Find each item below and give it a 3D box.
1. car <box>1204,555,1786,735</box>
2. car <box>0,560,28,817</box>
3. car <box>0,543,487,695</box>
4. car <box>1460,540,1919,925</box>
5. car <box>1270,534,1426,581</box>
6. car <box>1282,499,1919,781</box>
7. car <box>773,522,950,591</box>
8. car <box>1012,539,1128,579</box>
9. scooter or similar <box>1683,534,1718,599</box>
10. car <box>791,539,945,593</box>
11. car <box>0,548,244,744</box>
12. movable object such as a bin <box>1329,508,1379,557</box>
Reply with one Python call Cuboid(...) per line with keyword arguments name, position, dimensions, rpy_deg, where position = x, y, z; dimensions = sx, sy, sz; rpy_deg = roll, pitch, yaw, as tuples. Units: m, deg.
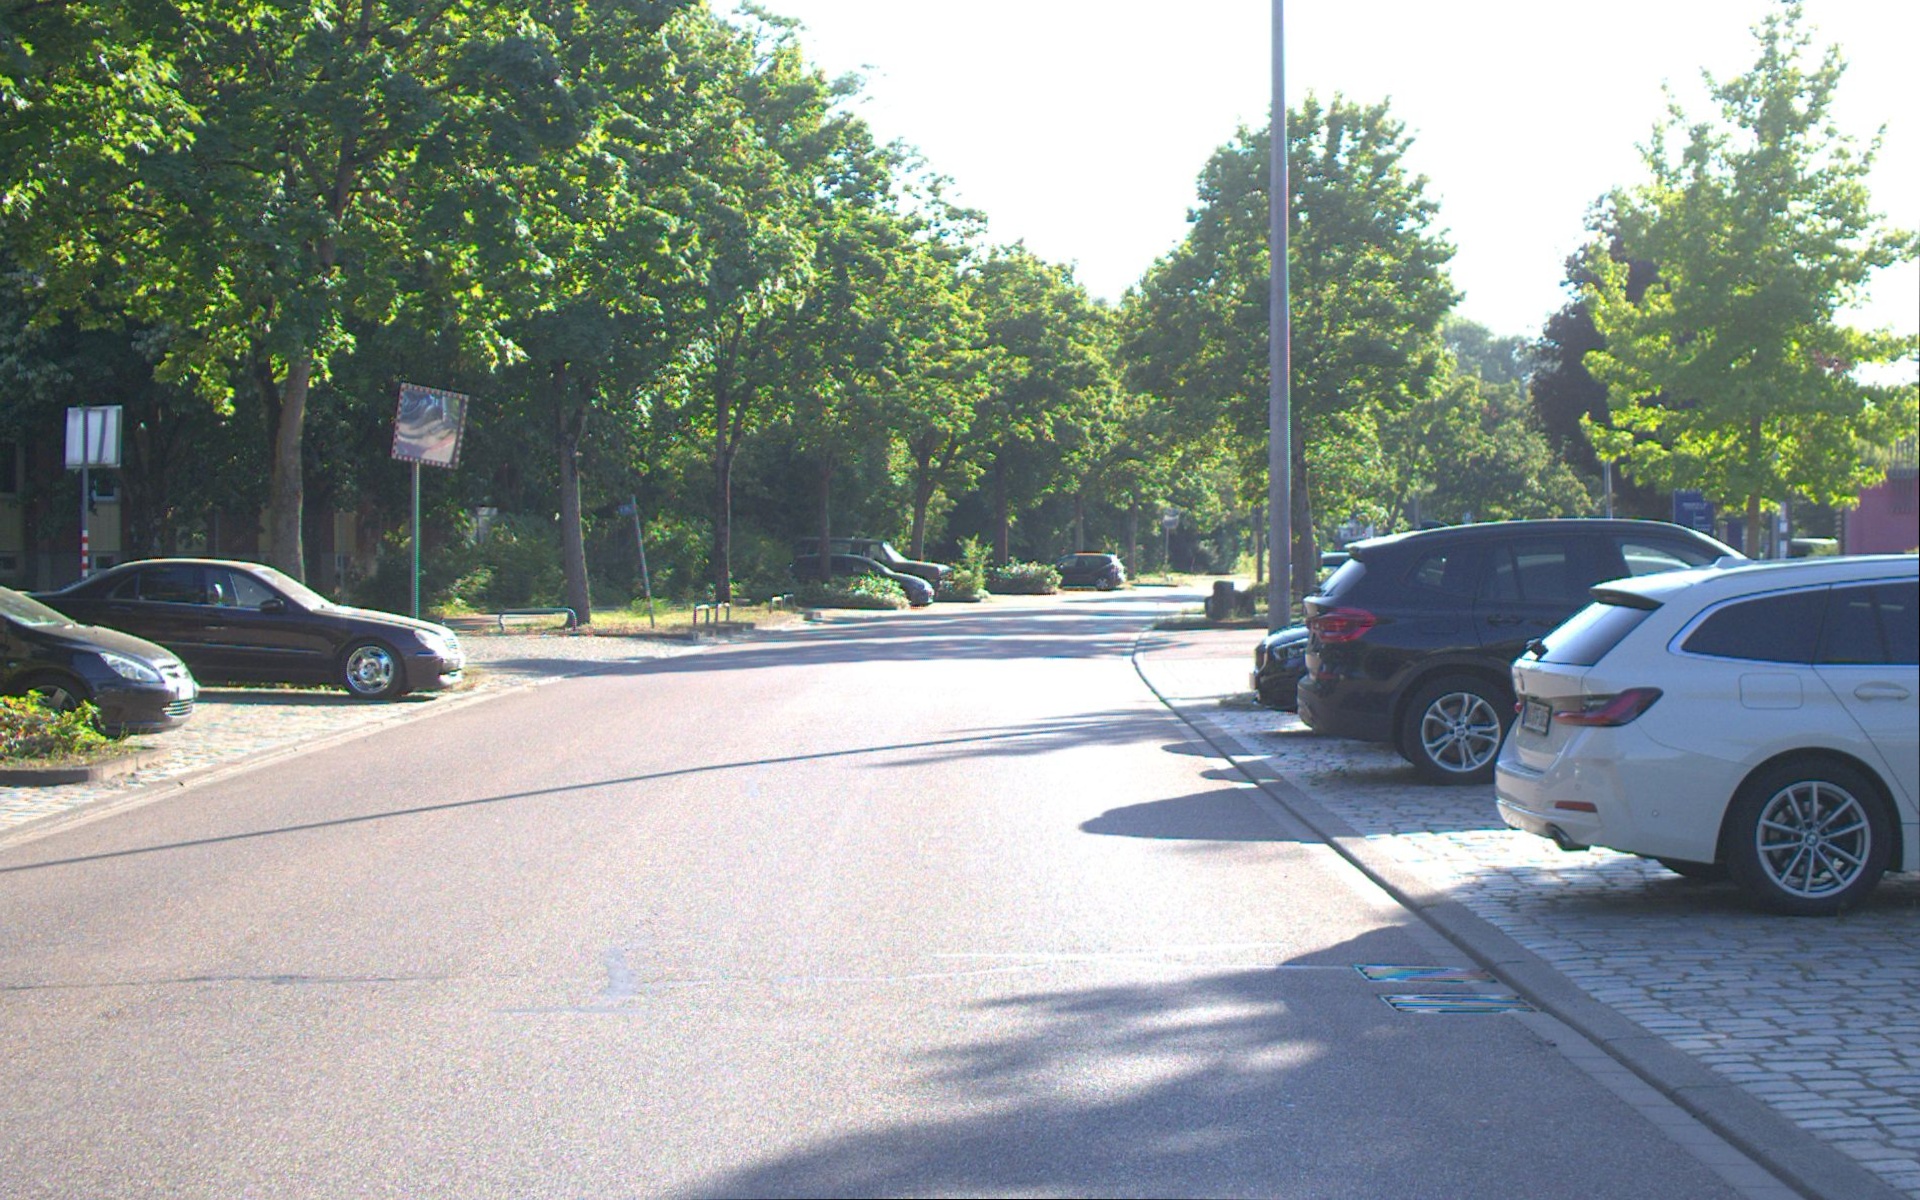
Cuboid(name="car", position=(4.325, 0.342, 28.343), dimensions=(4.481, 1.399, 2.034), rpy_deg=(0, 1, 0))
Cuboid(name="car", position=(-7.948, 0.482, 19.988), dimensions=(4.479, 1.525, 2.000), rpy_deg=(2, 1, 0))
Cuboid(name="car", position=(-7.814, 0.183, 37.399), dimensions=(5.035, 1.457, 2.000), rpy_deg=(2, 1, 0))
Cuboid(name="car", position=(4.664, 0.474, 14.764), dimensions=(4.694, 1.474, 2.000), rpy_deg=(-2, 1, 0))
Cuboid(name="car", position=(13.167, -1.432, 116.425), dimensions=(5.177, 1.568, 2.157), rpy_deg=(0, 1, 9))
Cuboid(name="car", position=(4.482, 0.225, 22.478), dimensions=(4.695, 1.745, 2.191), rpy_deg=(0, 1, 5))
Cuboid(name="car", position=(-2.908, -1.294, 102.365), dimensions=(5.006, 2.013, 2.174), rpy_deg=(0, 1, 7))
Cuboid(name="car", position=(4.453, -1.659, 138.824), dimensions=(4.361, 1.474, 1.999), rpy_deg=(2, 1, 11))
Cuboid(name="scooter or similar", position=(14.641, -0.668, 67.997), dimensions=(0.520, 1.267, 1.387), rpy_deg=(0, 1, 5))
Cuboid(name="car", position=(-2.626, -0.979, 98.546), dimensions=(4.213, 1.525, 1.705), rpy_deg=(0, 1, 7))
Cuboid(name="car", position=(-8.225, 0.309, 27.668), dimensions=(4.479, 1.457, 2.000), rpy_deg=(2, 1, 0))
Cuboid(name="movable object such as a bin", position=(25.482, -4.353, 222.371), dimensions=(2.839, 3.058, 4.925), rpy_deg=(2, 1, 10))
